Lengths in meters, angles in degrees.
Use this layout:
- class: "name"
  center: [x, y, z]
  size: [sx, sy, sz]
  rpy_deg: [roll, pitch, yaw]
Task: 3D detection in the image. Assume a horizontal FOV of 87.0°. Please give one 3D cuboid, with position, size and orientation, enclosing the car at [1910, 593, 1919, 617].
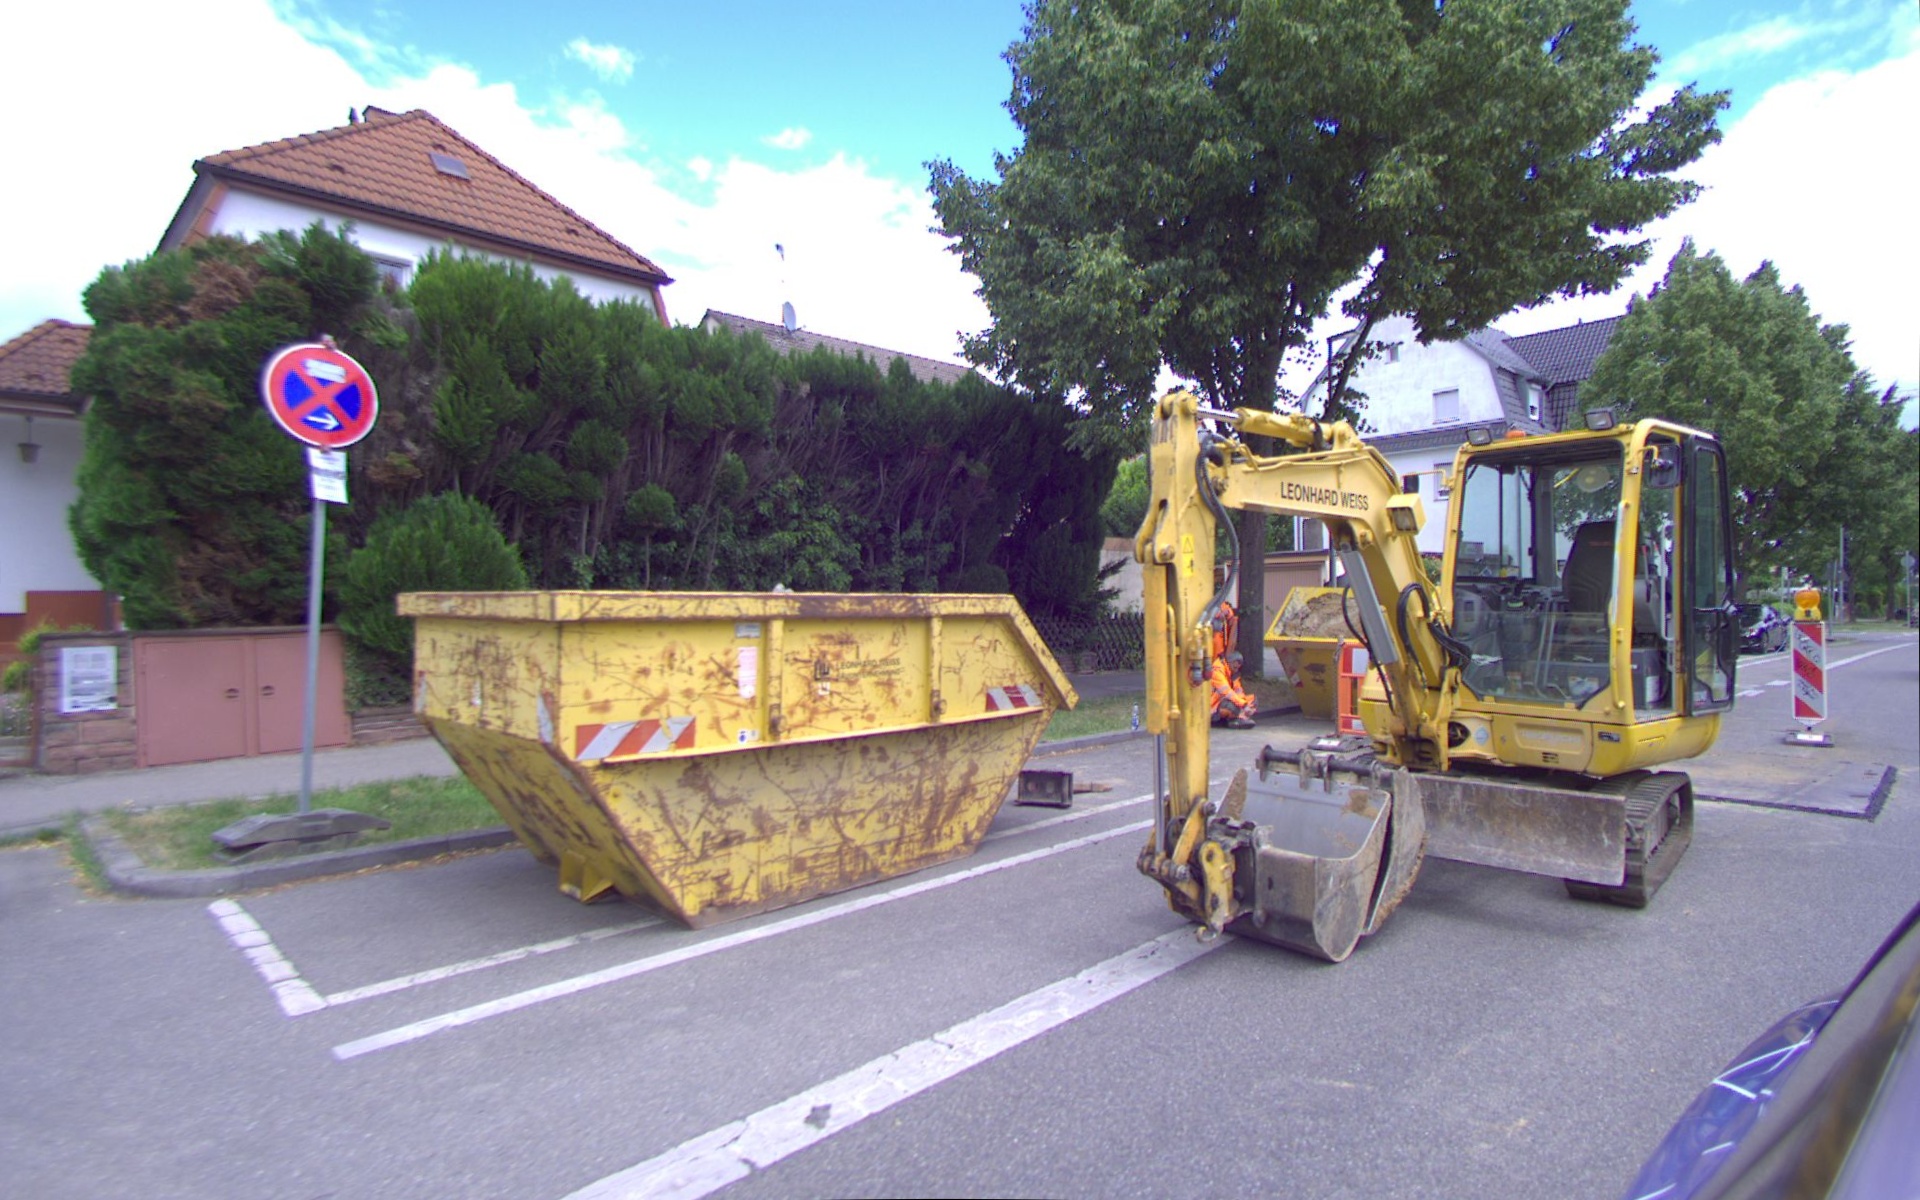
- class: "car"
  center: [68.008, 0.362, 69.351]
  size: [4.219, 1.658, 1.666]
  rpy_deg: [1, 1, 45]

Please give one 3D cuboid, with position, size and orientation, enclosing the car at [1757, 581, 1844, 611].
- class: "car"
  center: [74.201, -0.317, 89.386]
  size: [1.965, 2.625, 5.717]
  rpy_deg: [1, -1, -44]

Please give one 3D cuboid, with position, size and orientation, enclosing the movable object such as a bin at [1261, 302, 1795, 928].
- class: "movable object such as a bin"
  center: [3.592, 0.057, 6.125]
  size: [3.676, 2.607, 1.770]
  rpy_deg: [0, -1, -43]

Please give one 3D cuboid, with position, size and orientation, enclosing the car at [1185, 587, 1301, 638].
- class: "car"
  center: [8.808, 0.339, 31.347]
  size: [3.933, 1.481, 1.674]
  rpy_deg: [0, 0, -43]

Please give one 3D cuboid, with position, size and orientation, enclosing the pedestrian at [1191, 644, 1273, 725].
- class: "pedestrian"
  center: [3.208, 0.982, 11.938]
  size: [0.711, 0.870, 0.664]
  rpy_deg: [0, 0, 41]

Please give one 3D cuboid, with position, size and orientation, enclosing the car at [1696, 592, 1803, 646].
- class: "car"
  center: [23.365, 0.511, 29.895]
  size: [4.537, 1.473, 1.708]
  rpy_deg: [0, 0, -42]

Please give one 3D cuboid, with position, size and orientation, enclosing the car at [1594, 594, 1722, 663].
- class: "car"
  center: [16.251, 0.595, 23.505]
  size: [3.933, 1.481, 1.674]
  rpy_deg: [0, 0, -43]

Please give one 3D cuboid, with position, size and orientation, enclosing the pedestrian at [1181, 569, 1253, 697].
- class: "pedestrian"
  center: [3.434, 0.420, 13.540]
  size: [0.633, 1.655, 0.705]
  rpy_deg: [0, 0, -43]
